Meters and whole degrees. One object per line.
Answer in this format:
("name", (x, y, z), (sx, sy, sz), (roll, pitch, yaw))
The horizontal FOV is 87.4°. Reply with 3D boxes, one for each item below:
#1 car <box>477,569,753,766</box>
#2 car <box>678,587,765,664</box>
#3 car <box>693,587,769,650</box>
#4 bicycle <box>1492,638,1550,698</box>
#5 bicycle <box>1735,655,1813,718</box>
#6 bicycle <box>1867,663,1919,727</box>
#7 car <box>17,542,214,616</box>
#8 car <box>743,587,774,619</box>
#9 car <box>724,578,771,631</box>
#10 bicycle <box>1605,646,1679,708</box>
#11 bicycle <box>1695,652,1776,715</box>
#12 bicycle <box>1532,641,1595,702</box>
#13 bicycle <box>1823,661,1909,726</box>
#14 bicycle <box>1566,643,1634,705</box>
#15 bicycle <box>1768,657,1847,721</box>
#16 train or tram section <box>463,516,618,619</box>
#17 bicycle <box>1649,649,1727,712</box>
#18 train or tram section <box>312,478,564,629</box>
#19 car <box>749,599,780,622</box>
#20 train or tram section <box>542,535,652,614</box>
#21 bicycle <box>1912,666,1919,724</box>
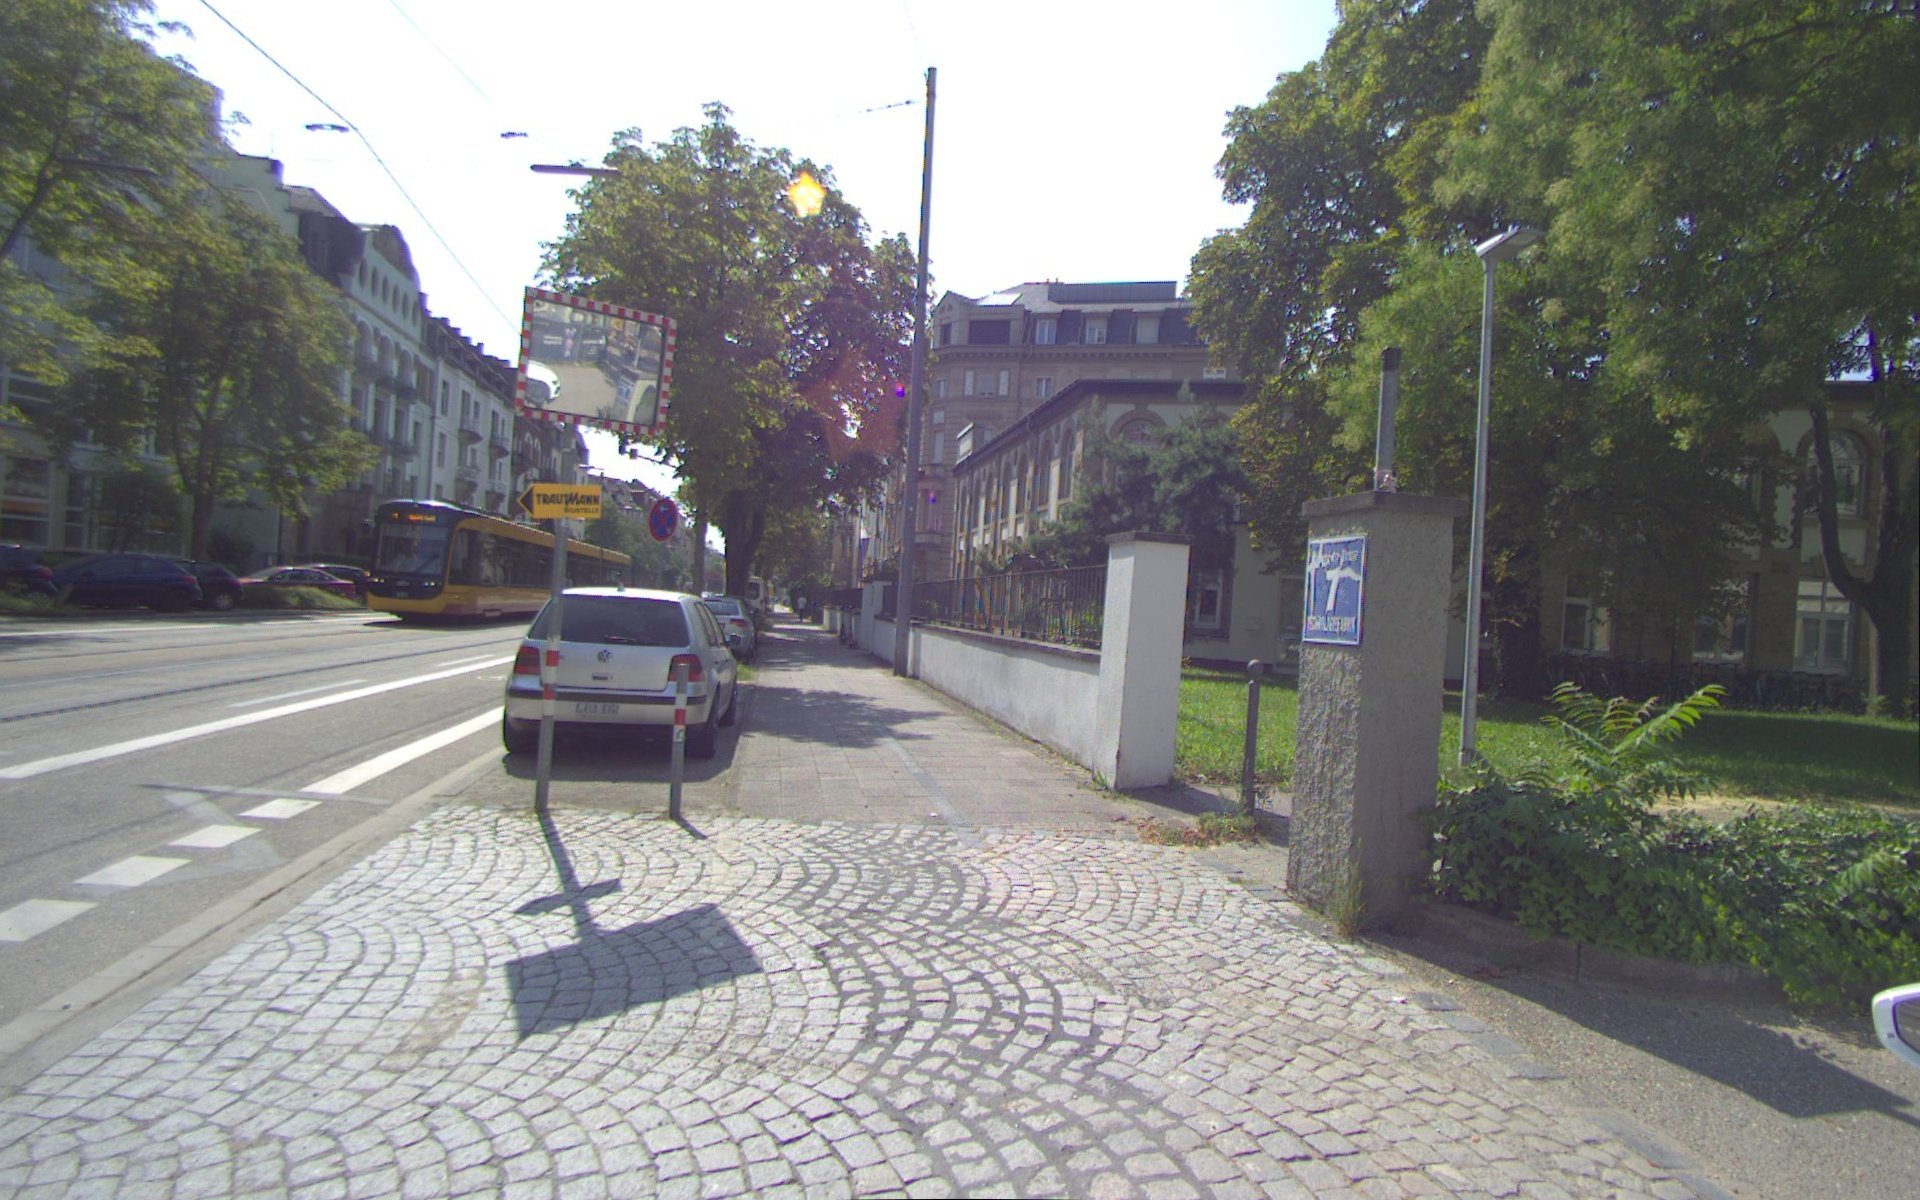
("car", (-3.045, 0.552, 9.655), (1.764, 1.465, 3.728), (3, -1, -8))
("car", (-5.371, 0.561, 22.971), (1.617, 1.531, 3.634), (4, -1, -10))
("car", (-6.566, 0.515, 29.190), (1.768, 1.597, 3.994), (4, -1, -9))
("bicycle", (13.513, 1.614, 24.269), (0.757, 1.319, 2.527), (4, -1, 20))
("bicycle", (18.646, 1.943, 23.069), (0.615, 1.319, 2.273), (4, -1, 20))
("bicycle", (21.035, 2.096, 22.229), (0.597, 1.319, 2.174), (4, -1, 20))
("car", (-21.725, -0.506, 25.941), (1.650, 1.595, 3.573), (3, -2, 38))
("car", (-15.464, 0.219, 76.853), (1.967, 2.263, 3.987), (4, -1, -15))
("car", (-10.572, 0.220, 50.215), (1.965, 2.396, 3.993), (4, -1, -10))
("bicycle", (15.959, 1.773, 23.566), (0.757, 1.319, 2.527), (4, -1, 20))
("bicycle", (17.901, 1.900, 23.247), (0.757, 1.319, 2.273), (4, -1, 20))
("bicycle", (14.288, 1.670, 23.850), (0.757, 1.319, 2.527), (4, -1, 20))
("bicycle", (20.379, 2.063, 22.645), (0.597, 1.319, 2.174), (4, -1, 20))
("bicycle", (15.083, 1.712, 23.740), (0.757, 1.319, 2.527), (4, -1, 20))
("bicycle", (19.269, 1.991, 22.892), (0.597, 1.319, 2.174), (4, -1, 20))
("train or tram section", (-18.419, -1.286, 45.273), (3.446, 3.753, 12.390), (4, 0, -9))
("bicycle", (17.001, 1.843, 23.532), (0.757, 1.319, 2.527), (4, -1, 20))
("train or tram section", (-16.361, -1.250, 33.048), (3.446, 3.753, 12.390), (4, 0, -9))
("car", (-13.646, 0.709, 69.964), (1.966, 1.416, 3.990), (4, -1, -13))
("train or tram section", (-20.436, -1.321, 57.522), (3.446, 3.753, 12.390), (4, 0, -9))
("bicycle", (21.853, 2.150, 21.993), (0.597, 1.319, 2.174), (4, -1, 20))
